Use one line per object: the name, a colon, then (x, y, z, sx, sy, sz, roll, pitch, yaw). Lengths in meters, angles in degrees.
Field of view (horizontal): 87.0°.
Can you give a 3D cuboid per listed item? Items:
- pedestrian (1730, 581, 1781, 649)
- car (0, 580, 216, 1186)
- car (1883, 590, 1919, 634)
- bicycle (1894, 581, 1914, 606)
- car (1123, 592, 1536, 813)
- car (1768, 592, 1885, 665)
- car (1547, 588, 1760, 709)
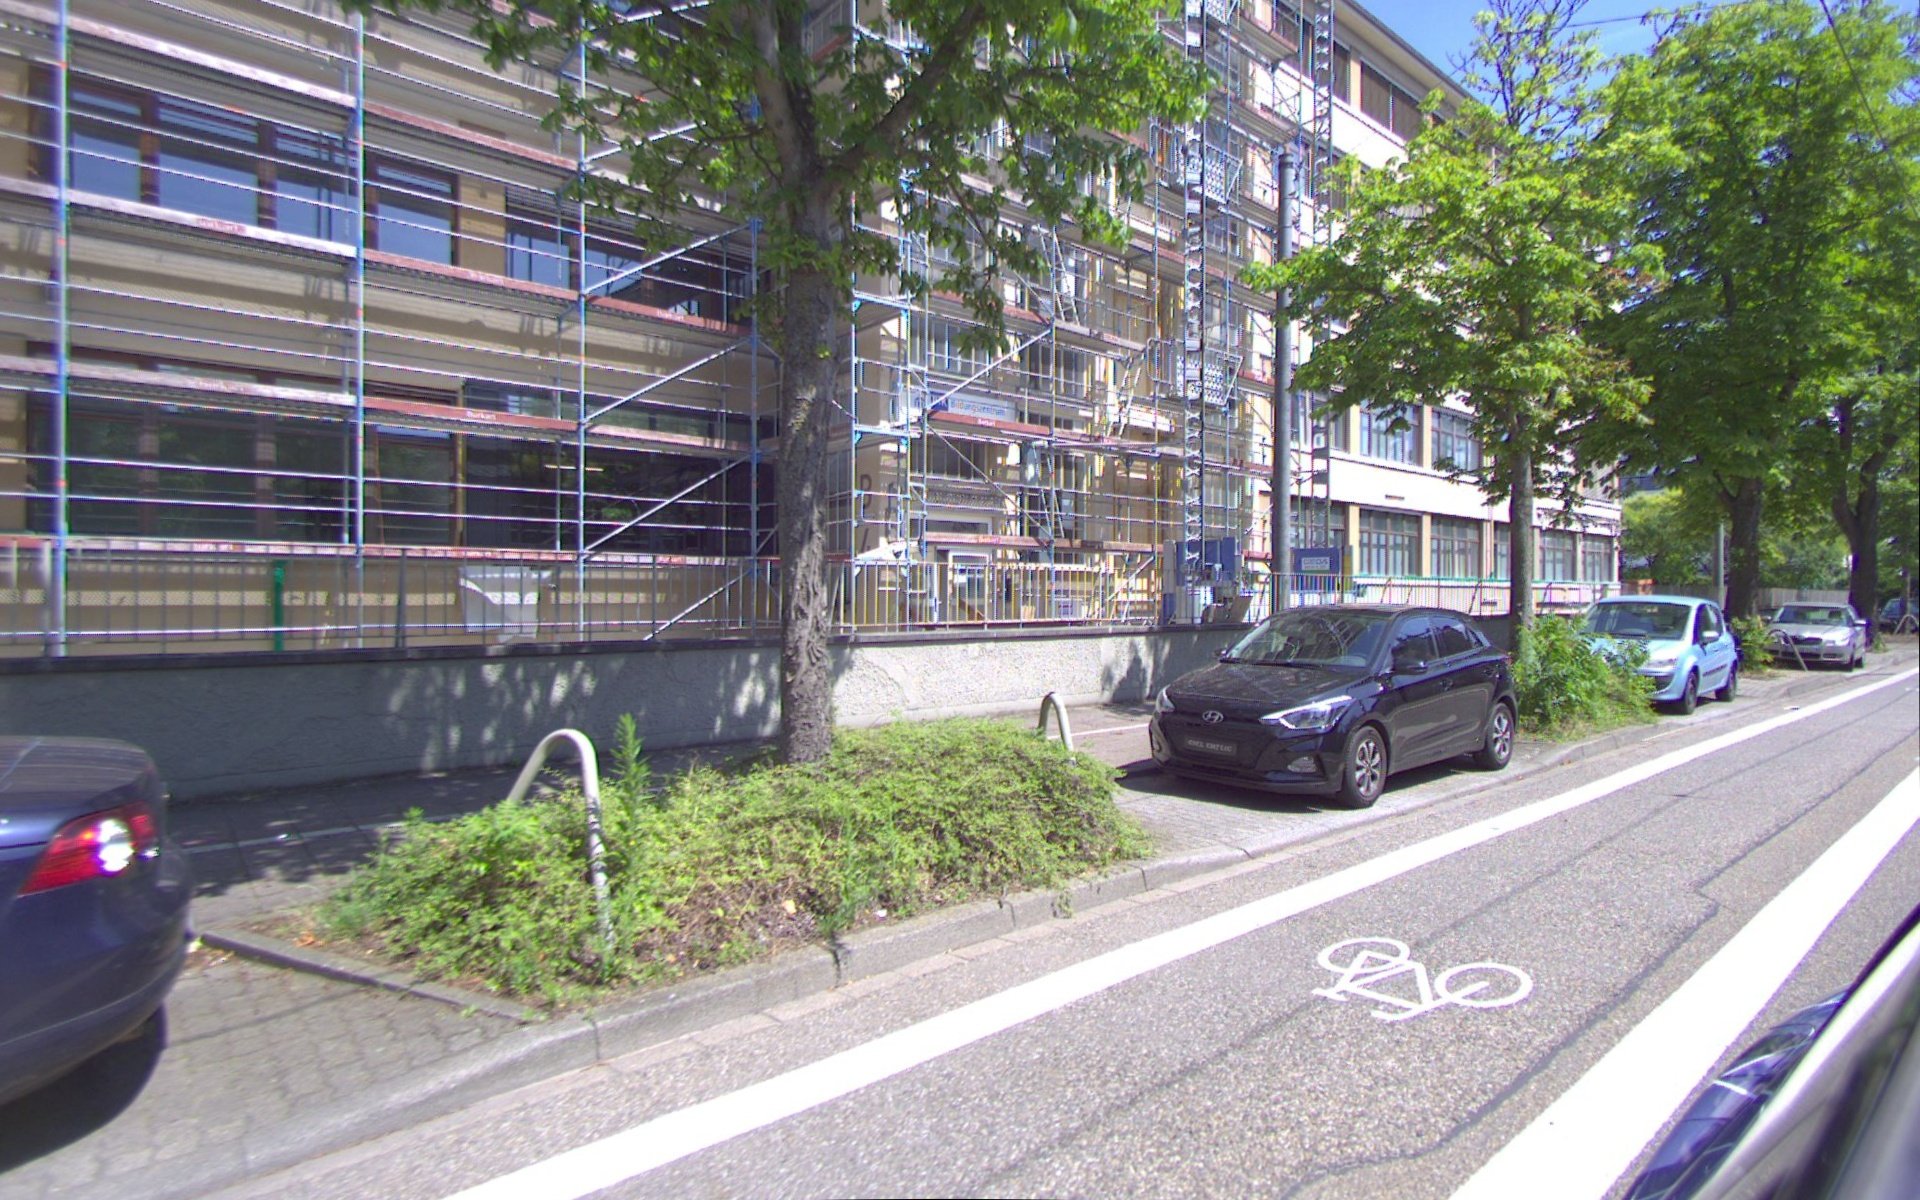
pedestrian: (19.474, 0.343, 24.766, 0.903, 1.608, 0.801, 0, 2, -42)
car: (-4.299, 0.691, 2.060, 4.406, 1.490, 1.828, 0, 1, -40)
car: (34.175, 0.401, 35.940, 3.912, 1.508, 1.674, 0, 1, -42)
bicycle: (50.204, -0.332, 53.799, 1.743, 1.281, 0.556, 0, 3, -41)
car: (3.319, 0.670, 8.695, 3.972, 1.456, 1.674, 0, 1, -42)
car: (19.979, 0.576, 23.271, 4.294, 1.518, 1.672, 0, 1, -44)
car: (10.341, 0.606, 14.975, 4.129, 1.537, 1.674, 0, 1, -42)
